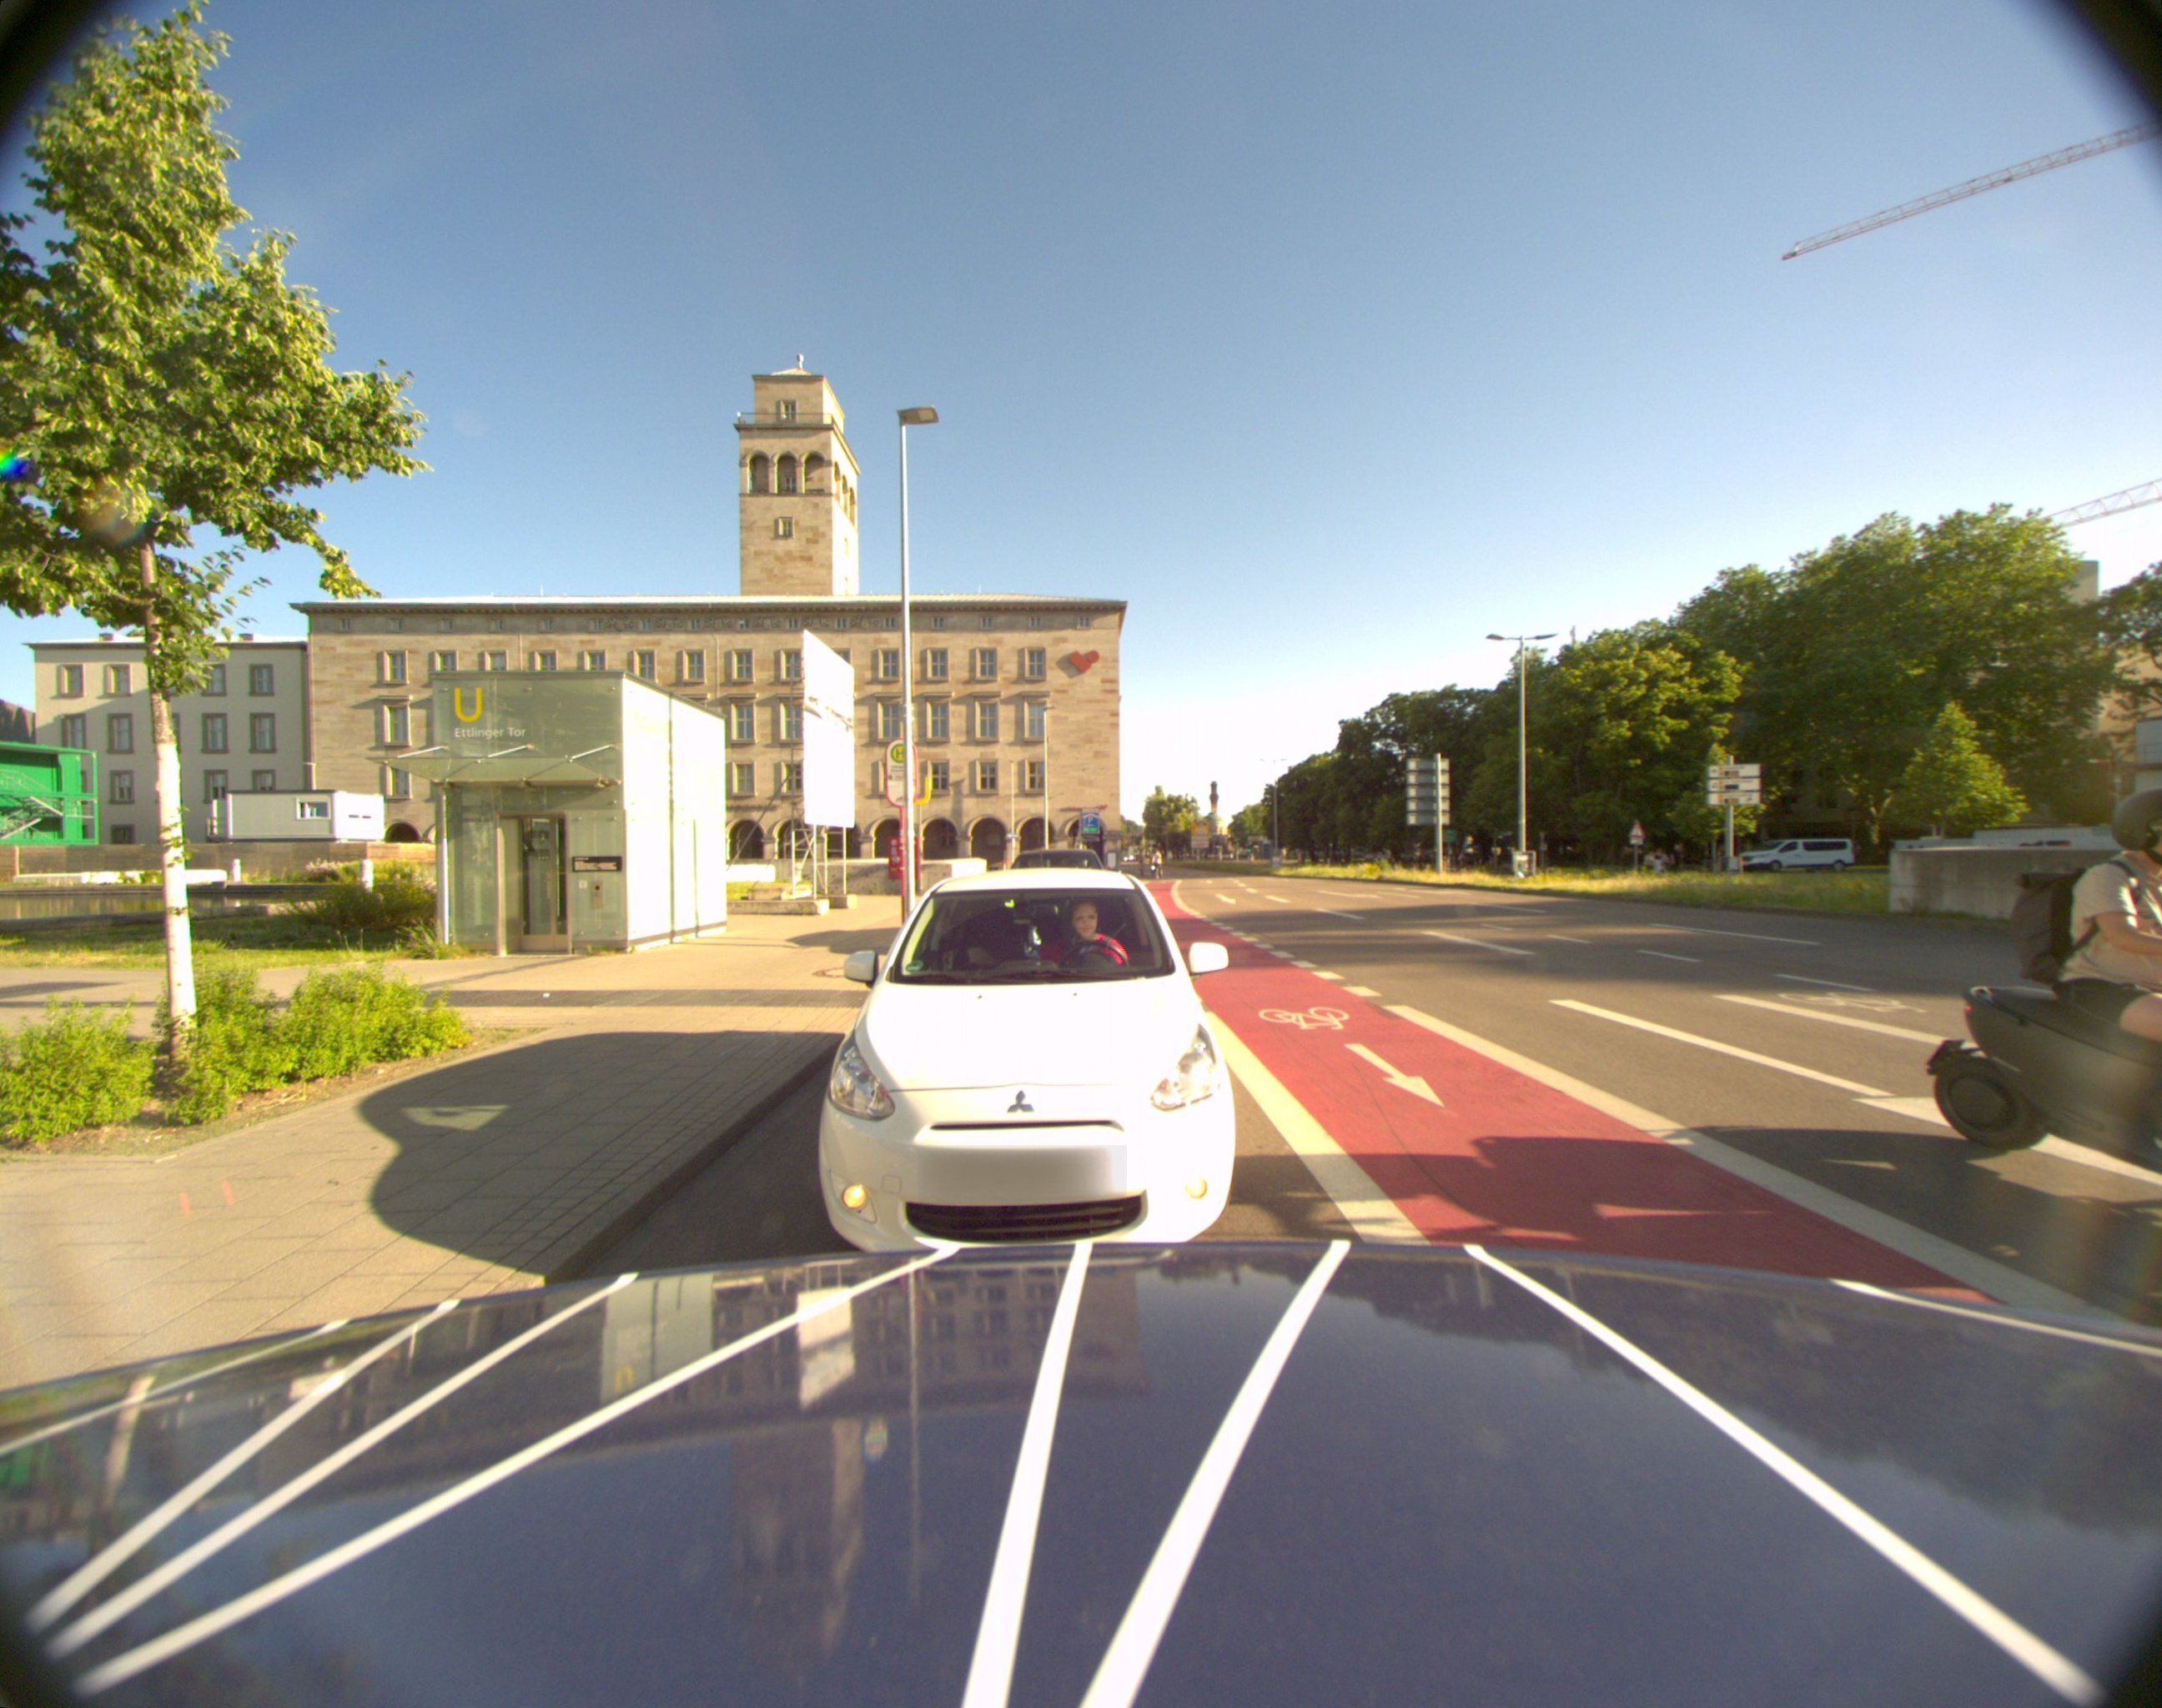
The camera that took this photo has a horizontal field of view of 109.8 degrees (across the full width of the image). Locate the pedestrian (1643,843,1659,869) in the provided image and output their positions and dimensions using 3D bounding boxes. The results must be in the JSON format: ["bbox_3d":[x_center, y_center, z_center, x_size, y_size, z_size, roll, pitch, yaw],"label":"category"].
[{"bbox_3d":[32.230,0.113,42.969,0.499,1.502,0.494,-1,1,1],"label":"pedestrian"}]

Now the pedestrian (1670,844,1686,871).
[{"bbox_3d":[33.817,0.205,43.038,0.499,1.502,0.494,-1,1,1],"label":"pedestrian"}]

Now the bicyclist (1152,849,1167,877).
[{"bbox_3d":[4.779,0.530,46.222,0.807,1.690,0.852,-1,1,1],"label":"bicyclist"}]

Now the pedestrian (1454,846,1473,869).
[{"bbox_3d":[32.658,0.281,64.907,0.951,1.952,1.058,-2,1,-14],"label":"pedestrian"}]

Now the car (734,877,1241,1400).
[{"bbox_3d":[-0.255,0.928,4.305,1.519,1.447,4.000,-1,0,1],"label":"car"}]

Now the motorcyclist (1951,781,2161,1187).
[{"bbox_3d":[4.280,0.460,2.937,0.823,1.455,0.877,-1,1,1],"label":"motorcyclist"}]

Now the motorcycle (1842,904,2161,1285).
[{"bbox_3d":[4.272,0.900,2.886,0.828,1.273,1.944,-1,0,1],"label":"motorcycle"}]

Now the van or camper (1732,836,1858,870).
[{"bbox_3d":[42.238,-0.050,45.059,5.499,1.934,1.951,-1,0,4],"label":"van or camper"}]

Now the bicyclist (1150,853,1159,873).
[{"bbox_3d":[6.063,0.743,62.995,0.674,1.649,0.877,-1,1,1],"label":"bicyclist"}]

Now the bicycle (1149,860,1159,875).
[{"bbox_3d":[6.060,1.104,62.960,0.689,1.185,1.506,-1,1,1],"label":"bicycle"}]

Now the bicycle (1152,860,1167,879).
[{"bbox_3d":[4.763,0.936,46.298,0.741,1.140,1.890,-1,0,1],"label":"bicycle"}]

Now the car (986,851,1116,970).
[{"bbox_3d":[-0.395,0.796,12.809,1.833,1.660,4.000,-1,0,1],"label":"car"}]

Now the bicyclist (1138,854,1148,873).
[{"bbox_3d":[5.160,0.780,63.290,0.823,1.568,0.877,-1,1,1],"label":"bicyclist"}]

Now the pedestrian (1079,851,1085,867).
[{"bbox_3d":[0.136,0.672,100.515,0.612,2.002,0.727,-2,1,0],"label":"pedestrian"}]

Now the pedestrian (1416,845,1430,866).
[{"bbox_3d":[32.598,0.149,72.469,0.954,2.002,0.842,-1,2,40],"label":"pedestrian"}]

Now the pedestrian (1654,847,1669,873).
[{"bbox_3d":[32.916,0.341,43.084,0.499,1.502,0.494,-1,1,1],"label":"pedestrian"}]

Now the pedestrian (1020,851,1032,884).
[{"bbox_3d":[-2.843,0.681,39.219,0.552,1.692,0.553,-1,1,-1],"label":"pedestrian"}]

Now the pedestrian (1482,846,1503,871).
[{"bbox_3d":[32.756,0.321,60.484,1.126,1.952,0.815,-2,1,1],"label":"pedestrian"}]

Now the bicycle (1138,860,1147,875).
[{"bbox_3d":[5.133,1.103,63.425,0.689,1.185,1.506,-1,1,1],"label":"bicycle"}]
